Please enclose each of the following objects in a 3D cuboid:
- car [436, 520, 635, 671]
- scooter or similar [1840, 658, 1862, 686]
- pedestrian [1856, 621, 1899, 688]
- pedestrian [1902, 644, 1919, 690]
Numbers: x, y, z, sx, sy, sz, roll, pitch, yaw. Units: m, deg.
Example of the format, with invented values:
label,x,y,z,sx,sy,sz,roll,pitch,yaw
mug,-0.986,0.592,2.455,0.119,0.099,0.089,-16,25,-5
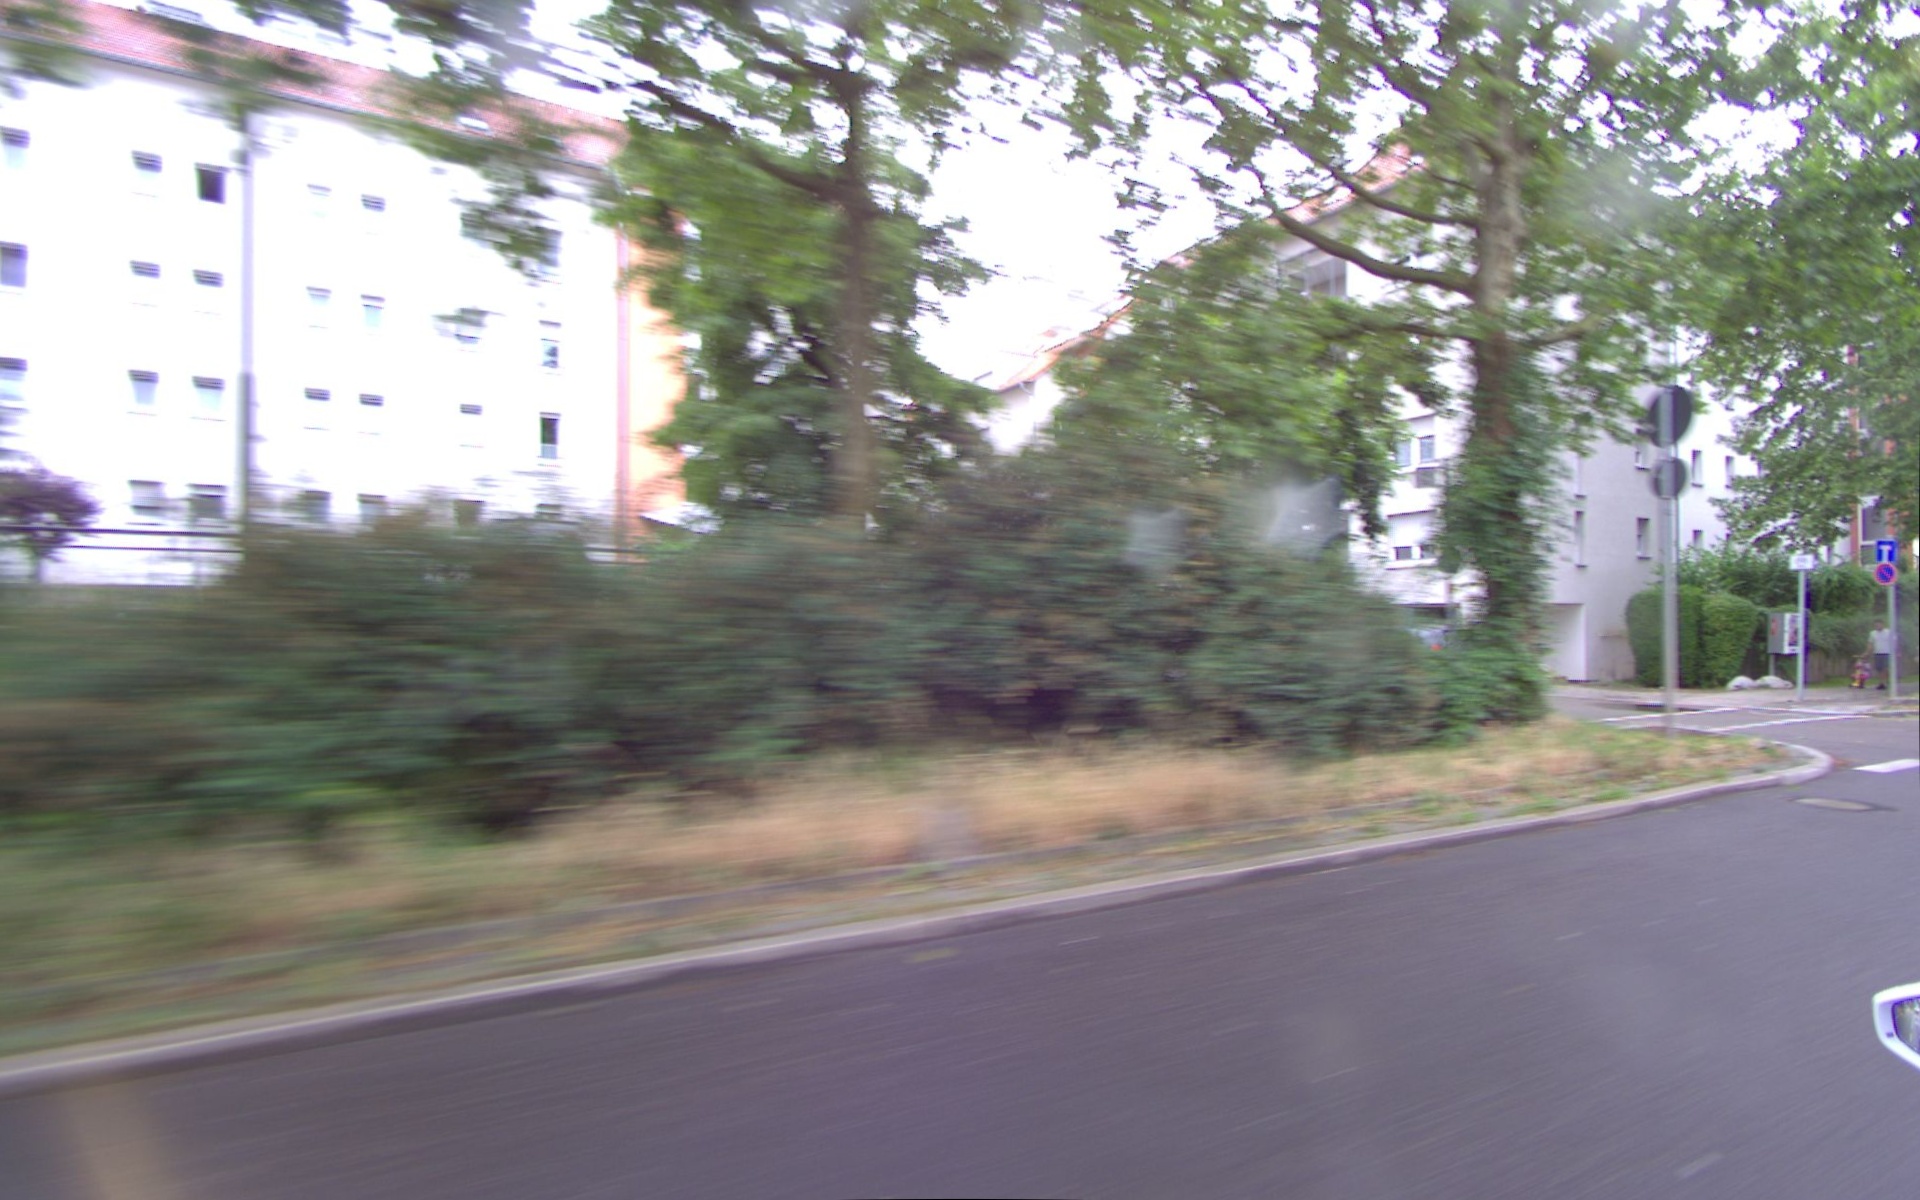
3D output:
label,x,y,z,sx,sy,sz,roll,pitch,yaw
car,-5.905,-0.043,13.687,1.977,1.693,3.968,3,-1,-30
scooter or similar,22.912,1.842,25.833,0.384,0.690,0.305,3,-1,-33
pedestrian,23.271,1.377,25.476,0.616,1.633,0.635,3,0,-32
pedestrian,23.983,1.674,24.976,0.616,1.122,0.677,3,-1,-32
